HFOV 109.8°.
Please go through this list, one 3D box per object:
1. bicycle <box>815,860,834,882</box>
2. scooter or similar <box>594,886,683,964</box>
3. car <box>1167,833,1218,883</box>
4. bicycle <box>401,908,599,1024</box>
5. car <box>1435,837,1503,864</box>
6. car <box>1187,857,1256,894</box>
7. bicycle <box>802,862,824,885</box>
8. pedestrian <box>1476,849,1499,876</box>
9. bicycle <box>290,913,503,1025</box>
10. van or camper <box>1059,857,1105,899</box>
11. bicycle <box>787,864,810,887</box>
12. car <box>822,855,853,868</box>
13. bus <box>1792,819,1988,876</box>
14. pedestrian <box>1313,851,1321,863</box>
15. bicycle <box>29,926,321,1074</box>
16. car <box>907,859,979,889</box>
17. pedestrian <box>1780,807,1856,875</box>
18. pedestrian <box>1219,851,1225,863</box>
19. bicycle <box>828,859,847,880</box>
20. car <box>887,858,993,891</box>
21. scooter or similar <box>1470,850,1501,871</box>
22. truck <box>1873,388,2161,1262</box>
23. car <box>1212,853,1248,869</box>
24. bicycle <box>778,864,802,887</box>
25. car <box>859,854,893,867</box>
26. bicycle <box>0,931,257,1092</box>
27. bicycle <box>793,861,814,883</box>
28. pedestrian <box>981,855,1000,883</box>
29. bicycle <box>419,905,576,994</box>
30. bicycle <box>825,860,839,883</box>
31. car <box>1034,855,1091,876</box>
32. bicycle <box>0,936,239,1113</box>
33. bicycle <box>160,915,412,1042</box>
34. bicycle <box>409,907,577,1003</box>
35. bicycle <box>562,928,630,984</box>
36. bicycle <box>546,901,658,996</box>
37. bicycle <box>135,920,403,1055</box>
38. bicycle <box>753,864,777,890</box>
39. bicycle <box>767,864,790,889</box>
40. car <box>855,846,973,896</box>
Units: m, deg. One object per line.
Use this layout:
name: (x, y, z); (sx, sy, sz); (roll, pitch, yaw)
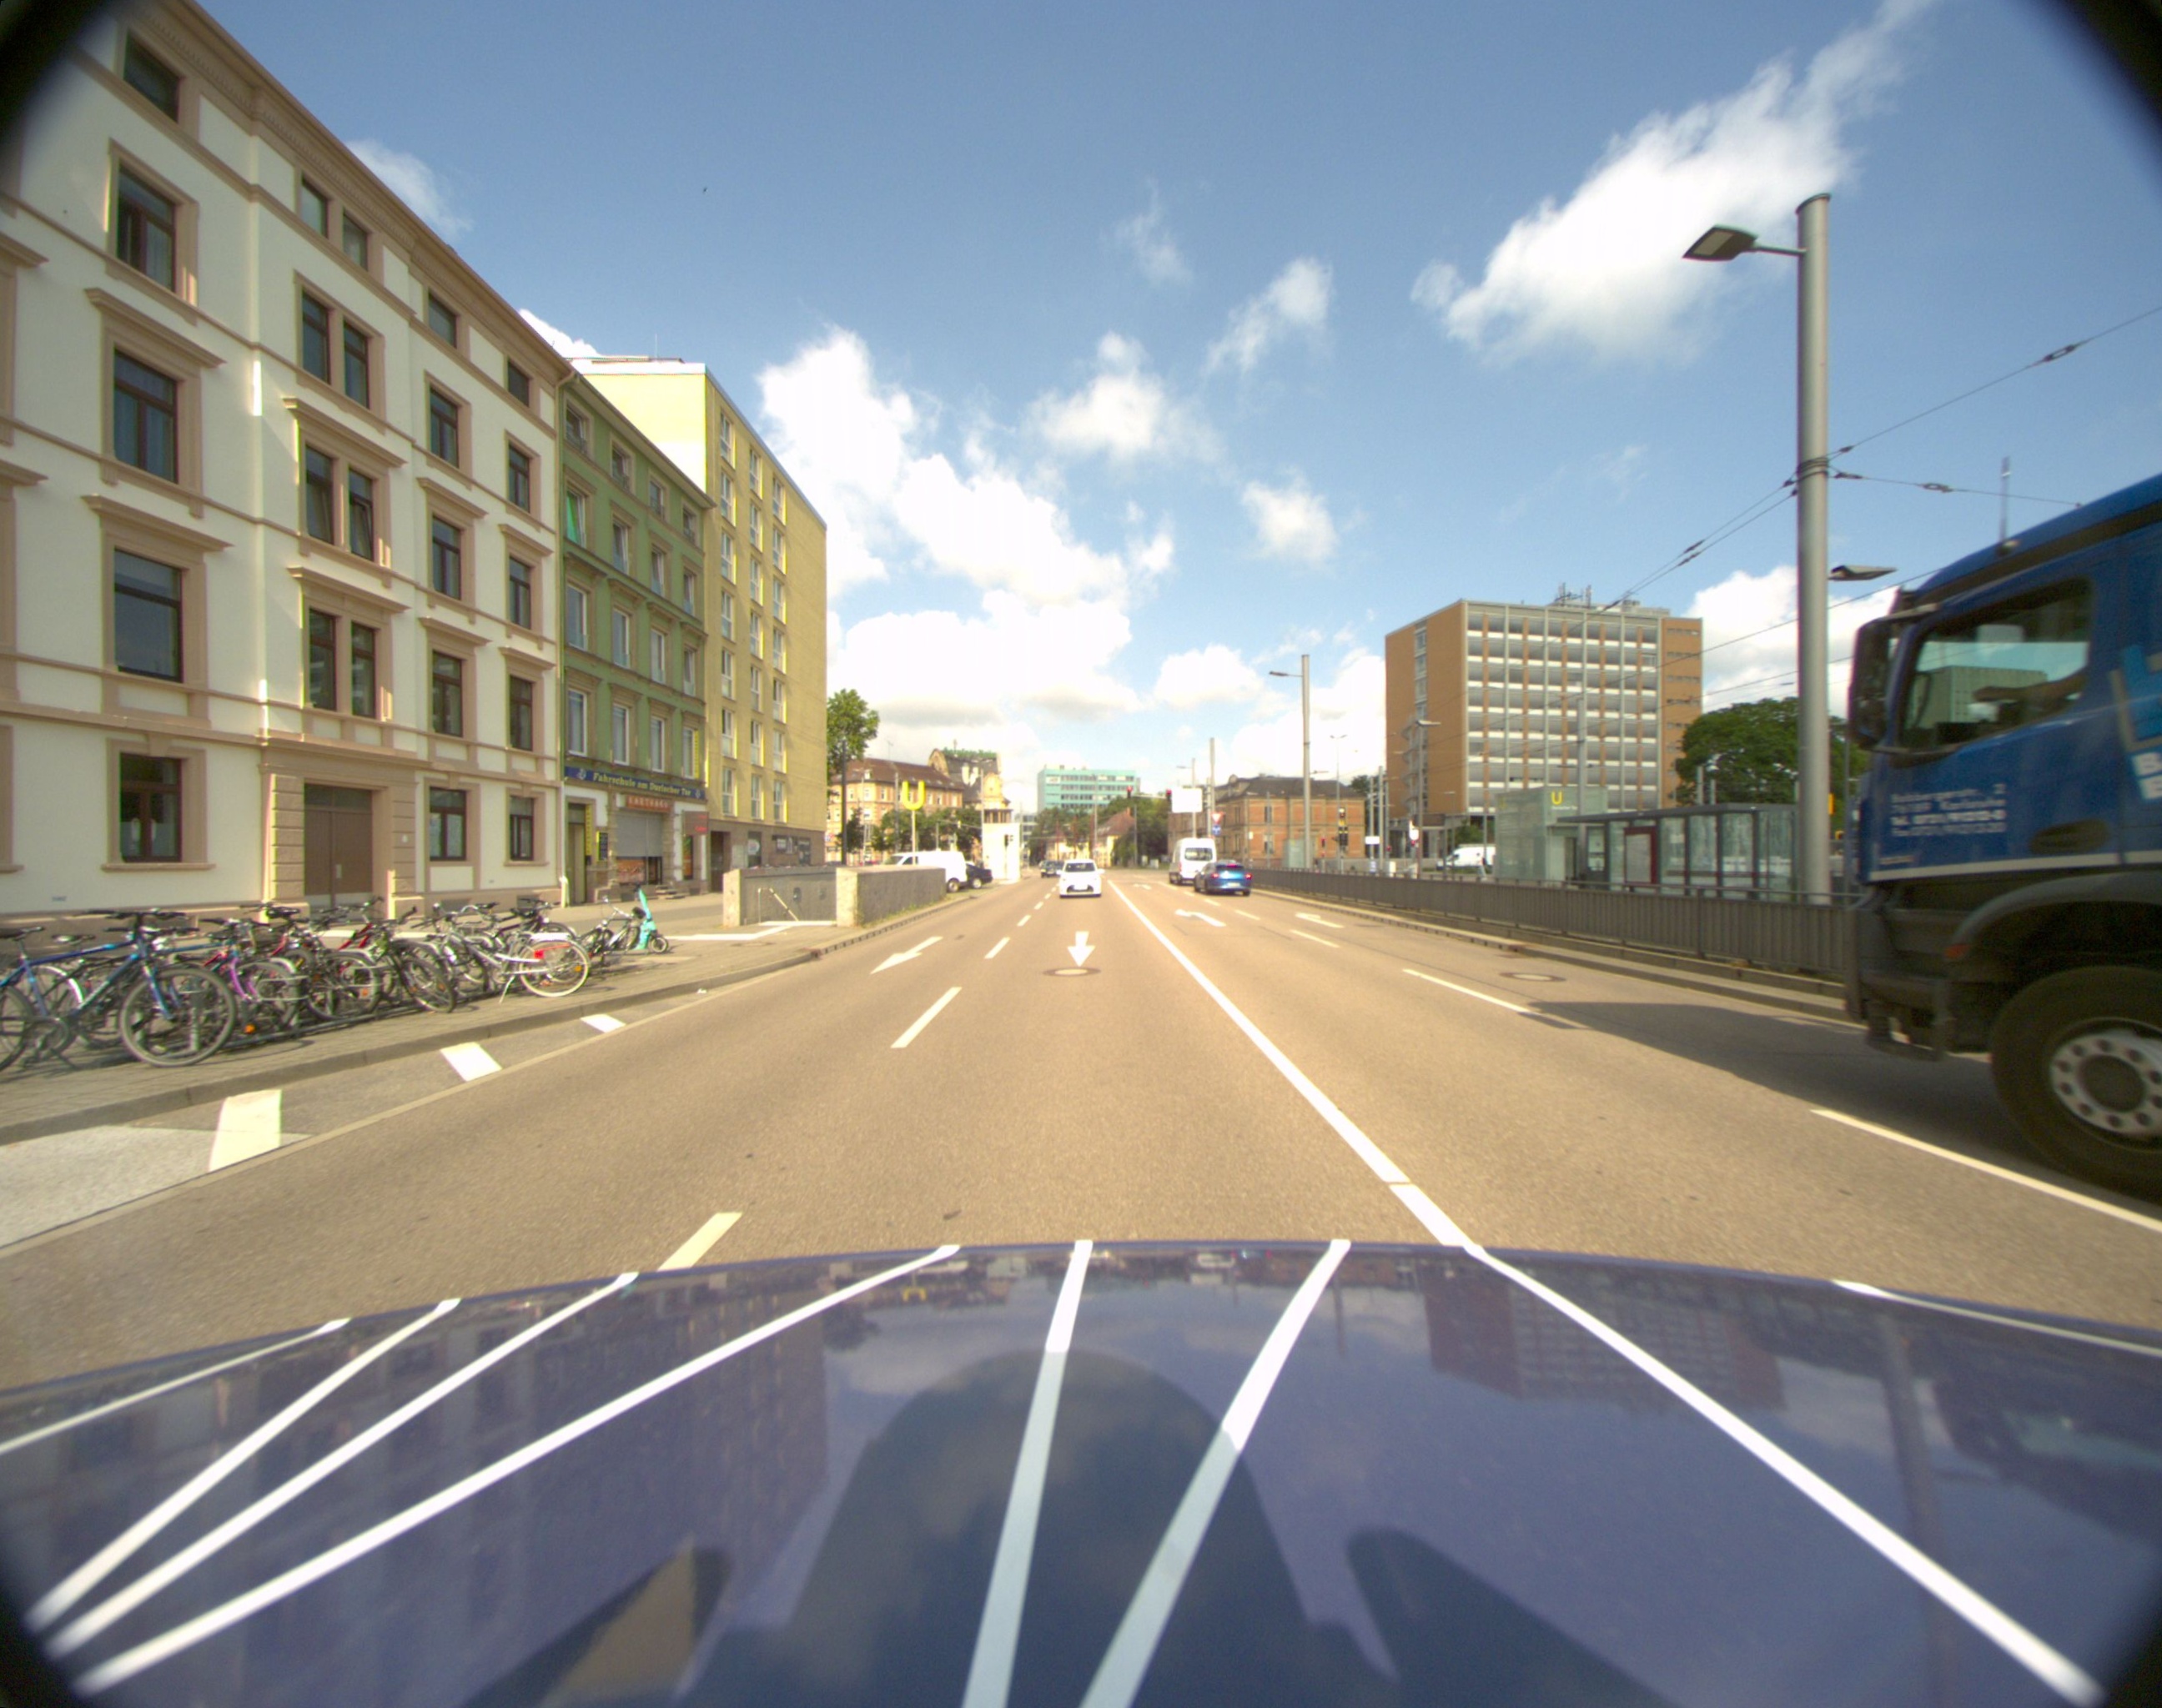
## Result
bicycle: (-15.429, 1.029, 45.731); (0.487, 1.265, 1.646); (0, 1, 5)
scooter or similar: (-7.160, 1.143, 12.327); (1.165, 1.231, 0.382); (1, 0, -11)
car: (6.215, 0.210, 43.023); (1.998, 2.606, 5.579); (1, 1, 0)
bicycle: (-6.034, 1.145, 7.968); (1.603, 1.078, 0.372); (-1, 0, -19)
car: (41.409, -0.348, 81.285); (6.137, 2.862, 2.489); (0, 0, 13)
car: (5.930, 0.881, 32.640); (1.855, 1.447, 4.553); (1, 0, -3)
bicycle: (-14.853, 1.062, 42.141); (0.548, 1.195, 1.646); (0, 1, 5)
pedestrian: (26.682, 0.557, 49.902); (1.094, 1.680, 0.931); (-1, 1, 42)
bicycle: (-7.290, 1.206, 8.143); (1.764, 1.078, 0.372); (-1, 0, -9)
van or camper: (0.042, 0.881, 29.724); (1.627, 1.467, 4.000); (-2, 0, 0)
bicycle: (-14.943, 1.121, 40.226); (0.487, 1.195, 1.646); (0, 1, 5)
car: (-32.102, 0.979, 100.071); (3.987, 1.544, 2.004); (3, 4, 38)
bus: (43.279, -0.314, 41.033); (7.079, 2.817, 2.706); (0, 0, 44)
pedestrian: (31.124, 0.422, 100.134); (0.774, 1.579, 0.763); (-1, 1, -45)
bicycle: (-7.299, 1.160, 6.166); (1.763, 1.078, 0.372); (-1, 0, -5)
car: (-7.638, 1.089, 42.246); (3.518, 1.432, 1.715); (-3, 1, -40)
pedestrian: (20.229, -0.343, 20.880); (0.999, 1.789, 1.047); (-2, -1, 6)
pedestrian: (19.754, 0.441, 106.432); (0.783, 1.727, 0.860); (0, 1, 11)
bicycle: (-15.105, 0.980, 47.187); (0.531, 1.265, 1.646); (0, 1, 5)
car: (-7.147, 1.008, 38.883); (5.074, 1.460, 1.885); (-1, 1, -41)
scooter or similar: (26.704, 0.418, 50.186); (1.337, 1.183, 1.494); (-2, 4, 3)
truck: (5.680, -0.117, 0.574); (2.469, 3.627, 7.449); (0, 0, 1)
car: (18.650, 0.837, 95.191); (4.131, 1.763, 2.001); (-1, 5, 20)
bicycle: (-15.470, 1.126, 40.443); (0.487, 1.195, 1.646); (0, 1, 5)
car: (-25.926, 0.808, 96.123); (3.988, 1.511, 2.003); (1, 5, 33)
bicycle: (-7.260, 1.149, 5.626); (1.763, 1.078, 0.372); (-1, 0, -5)
bicycle: (-15.409, 0.995, 42.226); (0.487, 1.195, 1.646); (0, 1, 5)
pedestrian: (-5.984, 0.961, 50.307); (0.996, 1.750, 0.784); (-3, 5, -24)
bicycle: (-7.500, 1.224, 9.784); (1.762, 1.078, 0.372); (-1, 0, 3)
bicycle: (-14.880, 1.030, 45.409); (0.488, 1.265, 1.888); (0, 1, -8)
car: (-1.487, 0.953, 62.739); (4.551, 1.274, 1.994); (-6, 6, -43)
bicycle: (-6.999, 1.151, 5.172); (1.765, 1.078, 0.372); (-1, 0, -15)
bicycle: (-7.577, 1.164, 7.299); (1.764, 1.078, 0.372); (-1, 0, -11)
bicycle: (-7.047, 1.206, 9.130); (1.762, 1.078, 0.372); (-1, 0, 3)
bicycle: (-7.229, 1.480, 11.284); (0.639, 0.582, 1.765); (0, 1, -40)
bicycle: (-6.359, 1.213, 10.191); (0.372, 1.065, 1.764); (-1, -1, 0)
bicycle: (-7.323, 1.183, 6.907); (1.764, 1.078, 0.372); (-1, 0, -11)
bicycle: (-15.602, 1.119, 37.588); (0.487, 1.195, 1.645); (0, 1, 0)
bicycle: (-14.969, 1.090, 37.651); (0.487, 1.195, 1.645); (0, 1, 0)
car: (-7.661, 0.758, 35.173); (4.909, 2.072, 2.074); (-2, 0, -45)
